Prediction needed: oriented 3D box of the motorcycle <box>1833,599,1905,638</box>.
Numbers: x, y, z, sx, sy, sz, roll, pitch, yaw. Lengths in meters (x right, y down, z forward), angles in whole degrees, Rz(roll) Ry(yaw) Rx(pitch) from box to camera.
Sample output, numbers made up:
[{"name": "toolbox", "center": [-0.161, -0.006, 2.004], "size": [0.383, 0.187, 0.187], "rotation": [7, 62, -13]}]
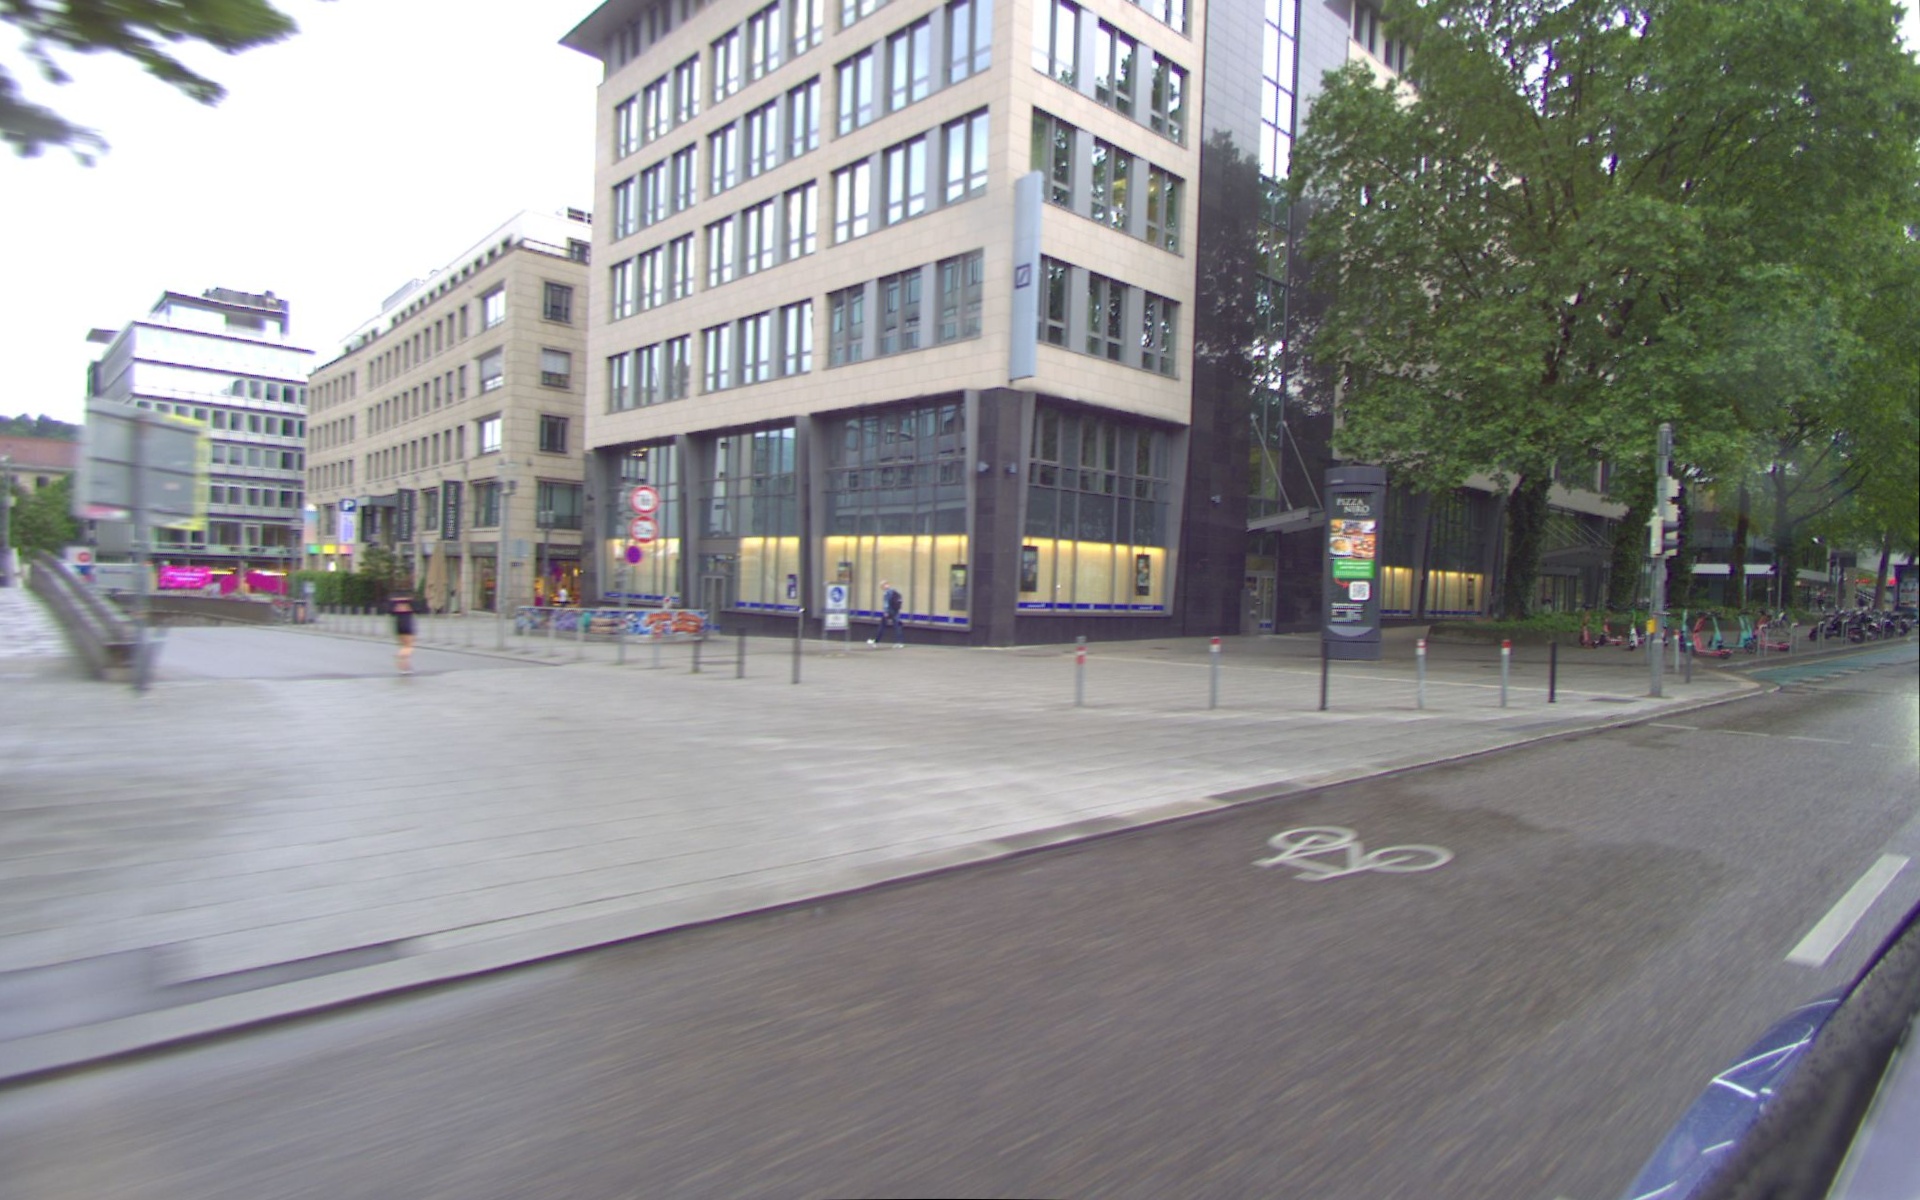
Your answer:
[{"name": "motorcycle", "center": [35.894, 0.720, 39.986], "size": [1.945, 1.391, 0.721], "rotation": [4, 1, 30]}]

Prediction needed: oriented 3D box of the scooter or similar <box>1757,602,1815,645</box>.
[{"name": "scooter or similar", "center": [26.446, 0.747, 32.396], "size": [0.527, 1.294, 1.294], "rotation": [3, 1, -35]}]

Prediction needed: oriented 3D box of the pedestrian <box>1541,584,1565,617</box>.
[{"name": "pedestrian", "center": [31.246, 0.033, 53.336], "size": [0.813, 1.714, 0.729], "rotation": [2, 1, 3]}]

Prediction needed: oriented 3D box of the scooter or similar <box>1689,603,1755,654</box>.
[{"name": "scooter or similar", "center": [20.840, 0.771, 27.697], "size": [0.479, 1.275, 1.296], "rotation": [3, 1, -28]}]

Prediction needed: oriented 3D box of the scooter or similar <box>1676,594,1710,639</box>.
[{"name": "scooter or similar", "center": [21.806, 0.492, 30.099], "size": [1.270, 1.275, 0.489], "rotation": [2, 1, -40]}]

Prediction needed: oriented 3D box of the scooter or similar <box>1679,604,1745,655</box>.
[{"name": "scooter or similar", "center": [20.332, 0.777, 27.370], "size": [0.479, 1.275, 1.296], "rotation": [3, 1, -28]}]

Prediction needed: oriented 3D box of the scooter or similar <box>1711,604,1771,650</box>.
[{"name": "scooter or similar", "center": [23.211, 0.794, 30.089], "size": [0.480, 1.251, 1.293], "rotation": [3, 1, -37]}]

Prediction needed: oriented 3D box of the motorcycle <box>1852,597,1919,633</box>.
[{"name": "motorcycle", "center": [38.531, 0.616, 42.091], "size": [1.945, 1.391, 0.721], "rotation": [4, 1, 30]}]

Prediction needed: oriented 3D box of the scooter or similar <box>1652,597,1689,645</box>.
[{"name": "scooter or similar", "center": [19.692, 0.591, 28.044], "size": [1.270, 1.275, 0.489], "rotation": [2, 1, -40]}]

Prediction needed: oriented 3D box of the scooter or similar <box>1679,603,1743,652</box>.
[{"name": "scooter or similar", "center": [21.005, 0.759, 28.328], "size": [0.479, 1.275, 1.296], "rotation": [3, 1, -28]}]

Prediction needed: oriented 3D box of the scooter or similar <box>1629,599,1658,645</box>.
[{"name": "scooter or similar", "center": [18.795, 0.596, 27.818], "size": [0.487, 1.212, 1.274], "rotation": [1, 1, 41]}]

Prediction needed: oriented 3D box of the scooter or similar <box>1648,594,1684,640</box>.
[{"name": "scooter or similar", "center": [20.656, 0.503, 29.615], "size": [1.270, 1.275, 0.489], "rotation": [2, 1, -40]}]

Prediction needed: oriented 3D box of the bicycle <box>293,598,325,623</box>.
[{"name": "bicycle", "center": [-29.139, 0.461, 45.283], "size": [1.175, 1.053, 0.350], "rotation": [-1, 1, -41]}]

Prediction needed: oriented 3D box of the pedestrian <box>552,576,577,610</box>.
[{"name": "pedestrian", "center": [-21.625, -0.400, 55.374], "size": [1.068, 1.854, 0.726], "rotation": [1, 0, -43]}]

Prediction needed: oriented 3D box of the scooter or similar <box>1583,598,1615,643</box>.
[{"name": "scooter or similar", "center": [18.228, 0.578, 28.875], "size": [0.483, 1.212, 1.285], "rotation": [1, 1, 19]}]

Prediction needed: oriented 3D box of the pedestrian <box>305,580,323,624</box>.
[{"name": "pedestrian", "center": [-30.155, 0.076, 47.228], "size": [0.562, 2.039, 0.705], "rotation": [1, 0, -42]}]

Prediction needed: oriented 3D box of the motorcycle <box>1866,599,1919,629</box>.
[{"name": "motorcycle", "center": [43.367, 0.635, 46.794], "size": [2.031, 1.227, 0.682], "rotation": [3, 3, 16]}]

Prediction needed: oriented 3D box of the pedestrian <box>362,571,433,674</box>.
[{"name": "pedestrian", "center": [-9.682, 0.368, 17.457], "size": [0.791, 1.718, 1.190], "rotation": [0, 0, -15]}]

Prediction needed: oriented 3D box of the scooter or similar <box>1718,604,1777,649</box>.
[{"name": "scooter or similar", "center": [23.769, 0.784, 30.562], "size": [0.480, 1.251, 1.293], "rotation": [3, 1, -37]}]

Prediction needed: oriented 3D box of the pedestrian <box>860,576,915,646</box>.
[{"name": "pedestrian", "center": [-2.003, 0.284, 28.045], "size": [1.265, 1.873, 0.911], "rotation": [0, 1, 28]}]

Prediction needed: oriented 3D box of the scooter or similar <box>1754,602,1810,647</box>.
[{"name": "scooter or similar", "center": [25.654, 0.762, 31.611], "size": [1.288, 1.294, 0.529], "rotation": [4, 1, 40]}]

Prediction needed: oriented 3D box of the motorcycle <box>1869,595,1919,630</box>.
[{"name": "motorcycle", "center": [41.809, 0.560, 44.903], "size": [2.043, 1.446, 0.721], "rotation": [4, 1, 30]}]

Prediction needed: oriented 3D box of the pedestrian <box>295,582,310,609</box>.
[{"name": "pedestrian", "center": [-39.346, -0.268, 60.574], "size": [0.676, 1.652, 0.684], "rotation": [1, 0, -38]}]

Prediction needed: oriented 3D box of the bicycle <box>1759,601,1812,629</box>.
[{"name": "bicycle", "center": [32.171, 0.594, 39.447], "size": [1.727, 1.041, 0.640], "rotation": [1, 1, -11]}]

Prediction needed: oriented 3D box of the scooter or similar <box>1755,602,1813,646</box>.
[{"name": "scooter or similar", "center": [26.122, 0.753, 32.102], "size": [0.527, 1.294, 1.294], "rotation": [3, 1, -35]}]

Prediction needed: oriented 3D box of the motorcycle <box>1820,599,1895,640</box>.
[{"name": "motorcycle", "center": [33.518, 0.701, 37.816], "size": [1.949, 1.391, 0.720], "rotation": [4, 1, 35]}]

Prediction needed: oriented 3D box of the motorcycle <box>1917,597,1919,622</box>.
[{"name": "motorcycle", "center": [53.449, 0.576, 55.103], "size": [1.909, 1.383, 0.685], "rotation": [3, 4, 1]}]

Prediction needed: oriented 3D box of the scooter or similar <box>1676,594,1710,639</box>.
[{"name": "scooter or similar", "center": [21.806, 0.492, 30.099], "size": [1.270, 1.275, 0.489], "rotation": [2, 1, -40]}]
